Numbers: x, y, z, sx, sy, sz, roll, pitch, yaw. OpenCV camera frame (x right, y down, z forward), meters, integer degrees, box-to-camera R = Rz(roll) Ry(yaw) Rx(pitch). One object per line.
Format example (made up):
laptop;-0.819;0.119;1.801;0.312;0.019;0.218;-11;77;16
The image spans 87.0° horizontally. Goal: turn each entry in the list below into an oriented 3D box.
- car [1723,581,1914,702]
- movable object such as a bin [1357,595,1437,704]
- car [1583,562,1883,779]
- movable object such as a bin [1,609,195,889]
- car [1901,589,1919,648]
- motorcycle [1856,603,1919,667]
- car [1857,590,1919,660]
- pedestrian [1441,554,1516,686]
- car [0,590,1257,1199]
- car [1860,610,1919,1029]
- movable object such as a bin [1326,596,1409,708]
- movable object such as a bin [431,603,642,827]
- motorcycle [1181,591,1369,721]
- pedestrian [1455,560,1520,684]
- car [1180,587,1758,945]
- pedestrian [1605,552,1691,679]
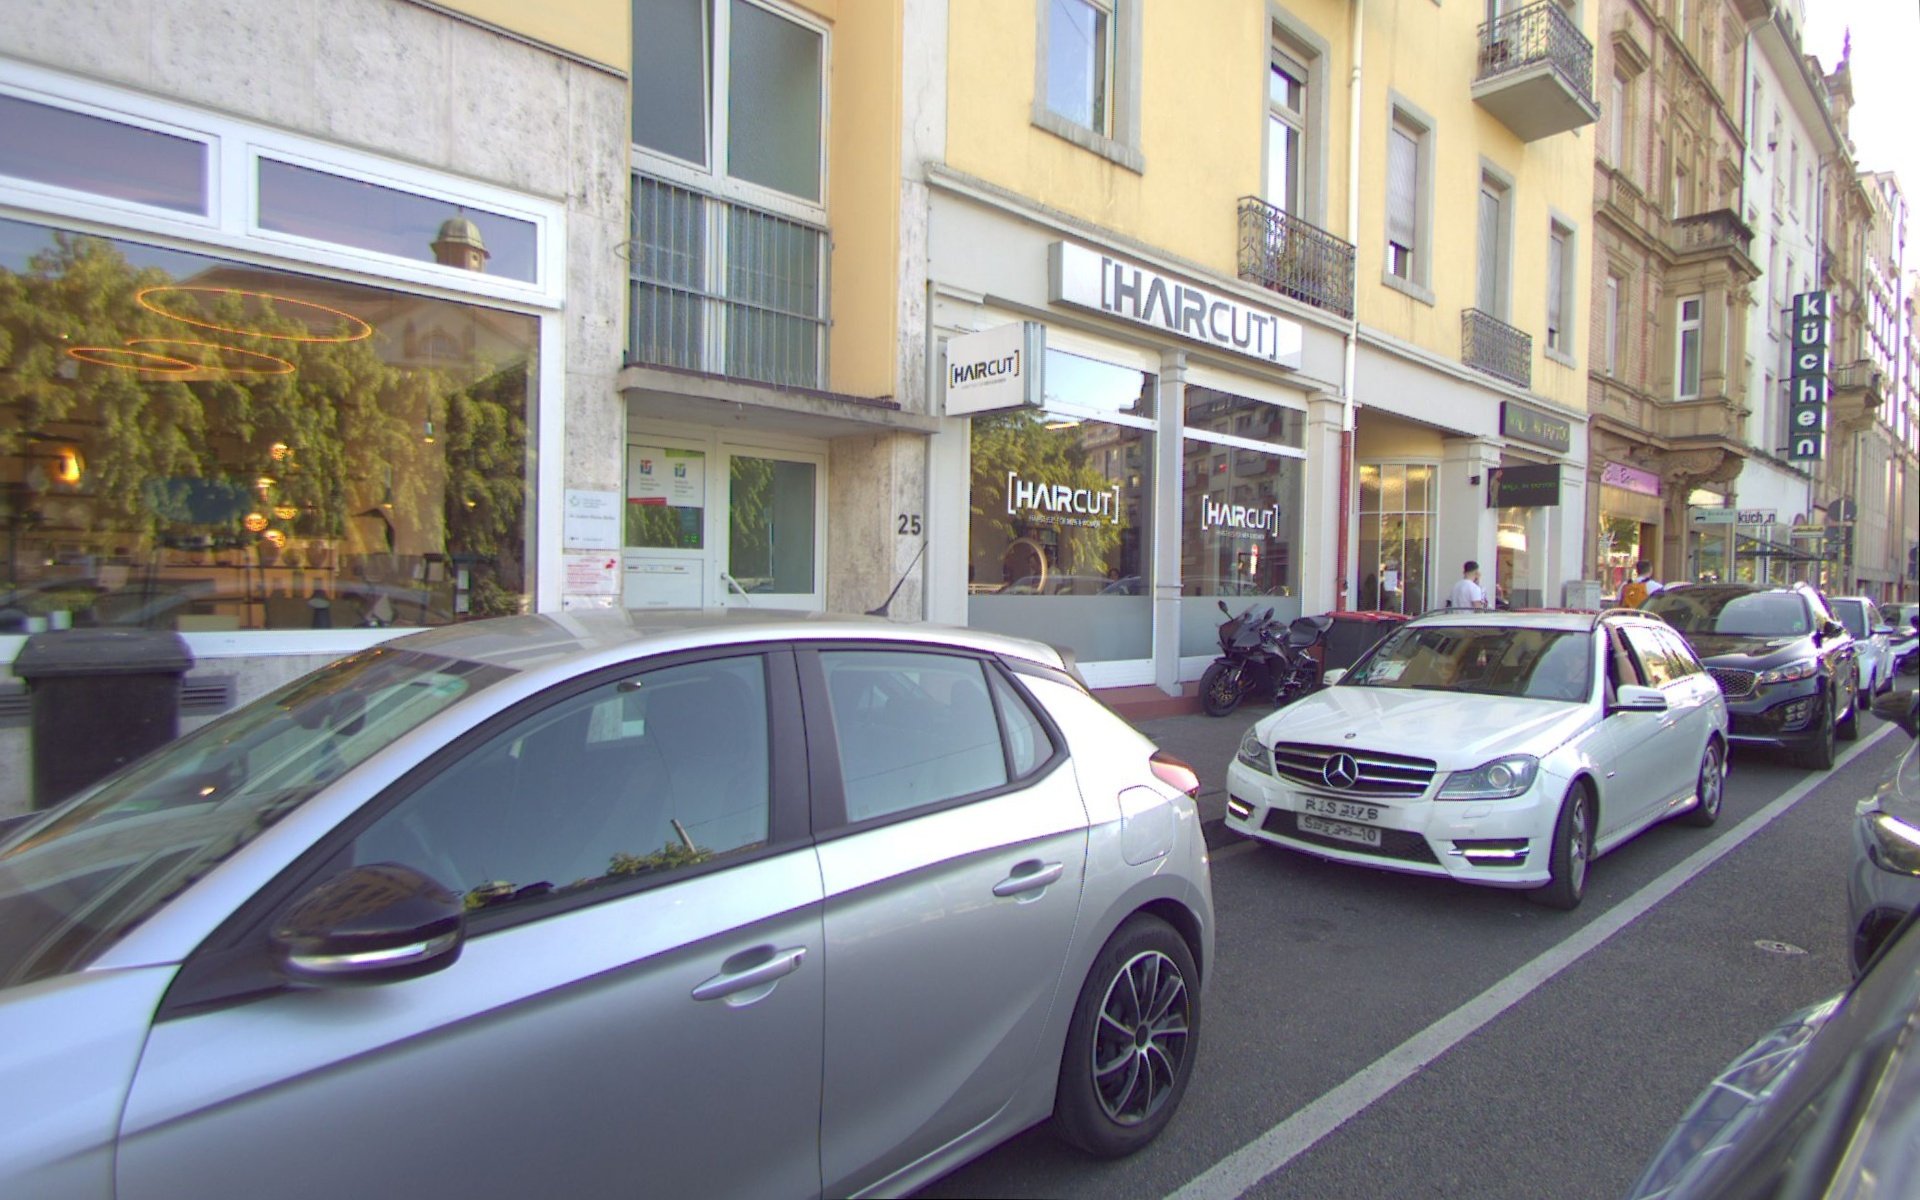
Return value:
car;12.674;0.524;14.905;2.965;1.587;1.695;0;1;-40
movable object such as a bin;5.134;0.560;11.888;0.633;1.222;0.647;0;0;-40
car;8.033;0.530;10.330;1.853;1.719;4.623;1;1;45
movable object such as a bin;-3.706;0.576;4.378;0.591;1.041;0.812;0;1;-40
car;26.387;0.478;26.862;3.931;1.504;1.713;0;1;-42
motorcycle;19.275;0.704;20.518;1.514;1.248;0.771;1;0;1
car;22.037;0.539;23.247;3.931;1.504;1.713;0;1;-42
pedestrian;6.658;0.241;13.003;0.689;1.637;0.641;0;0;-42
car;-1.043;0.695;2.317;3.642;1.415;1.652;0;1;-42
car;5.319;0.758;4.278;4.183;1.396;1.846;0;1;-42
movable object such as a bin;4.624;0.566;11.499;0.633;1.222;0.647;0;0;-40
movable object such as a bin;-2.309;0.564;5.521;0.878;1.066;0.752;0;1;-40
motorcycle;3.309;0.517;10.525;2.208;1.179;0.773;0;4;-41
pedestrian;7.170;0.283;13.760;0.631;1.637;0.572;0;0;-40
car;3.465;0.673;6.398;4.519;1.480;1.757;0;1;-42
pedestrian;9.234;0.188;13.580;0.750;1.637;0.794;0;1;-43
